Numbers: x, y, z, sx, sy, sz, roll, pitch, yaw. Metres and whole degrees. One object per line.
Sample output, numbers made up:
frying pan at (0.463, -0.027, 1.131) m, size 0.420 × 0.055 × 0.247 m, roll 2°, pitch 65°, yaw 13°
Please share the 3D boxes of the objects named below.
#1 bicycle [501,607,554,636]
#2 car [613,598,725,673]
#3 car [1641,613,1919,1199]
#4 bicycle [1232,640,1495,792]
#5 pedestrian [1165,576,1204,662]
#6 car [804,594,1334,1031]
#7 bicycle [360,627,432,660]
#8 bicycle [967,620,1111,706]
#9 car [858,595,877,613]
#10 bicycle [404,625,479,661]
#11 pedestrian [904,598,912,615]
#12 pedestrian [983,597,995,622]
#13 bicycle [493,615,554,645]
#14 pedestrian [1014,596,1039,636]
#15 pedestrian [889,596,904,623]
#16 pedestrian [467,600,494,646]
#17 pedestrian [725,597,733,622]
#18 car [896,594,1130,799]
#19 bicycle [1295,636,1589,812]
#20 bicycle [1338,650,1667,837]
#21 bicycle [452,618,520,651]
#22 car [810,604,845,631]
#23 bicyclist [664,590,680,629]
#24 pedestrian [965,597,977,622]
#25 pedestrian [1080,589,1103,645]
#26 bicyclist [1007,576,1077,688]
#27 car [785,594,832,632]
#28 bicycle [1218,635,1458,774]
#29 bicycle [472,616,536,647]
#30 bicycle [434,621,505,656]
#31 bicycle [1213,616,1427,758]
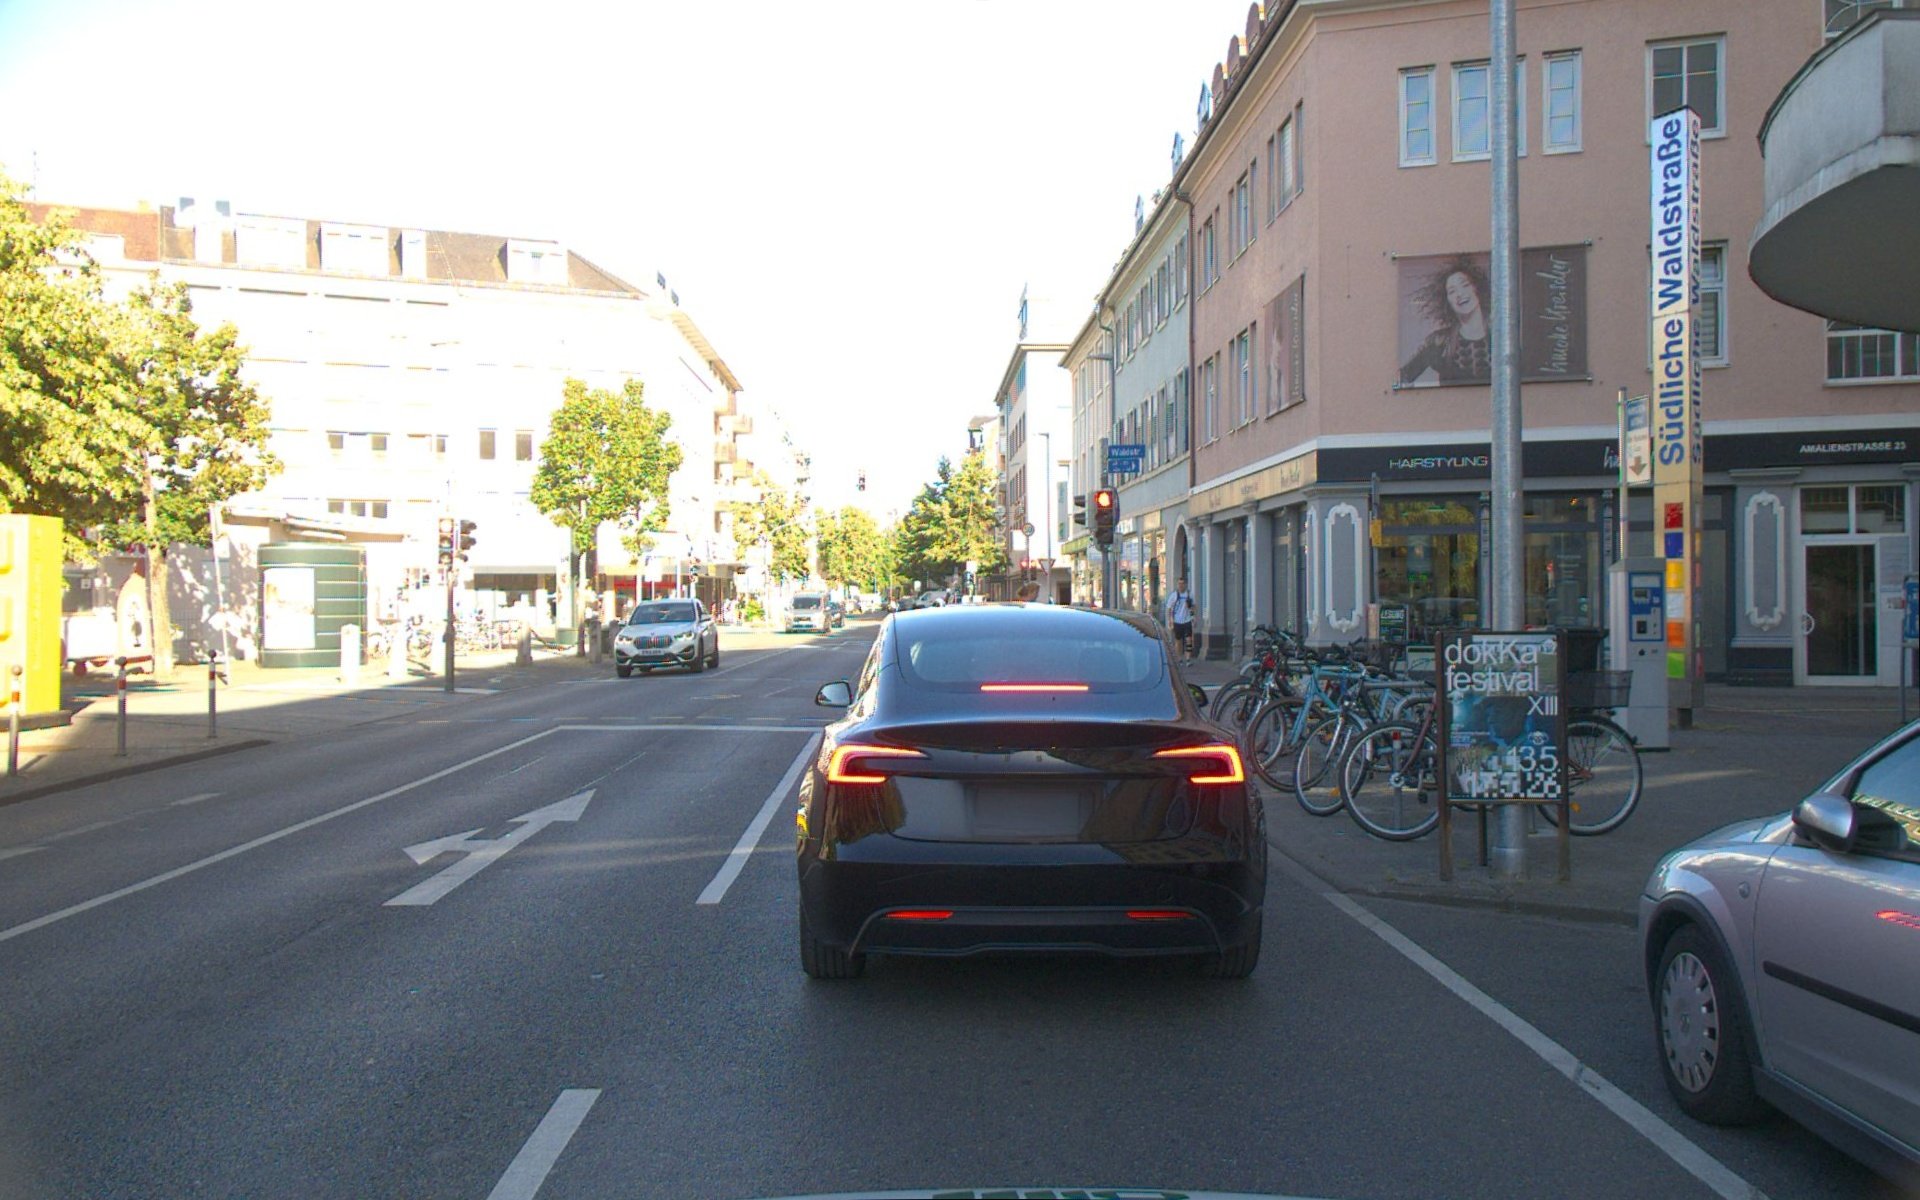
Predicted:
bicycle at (-20.293, 1.028, 77.659) m, size 2.334 × 1.318 × 0.509 m, roll 1°, pitch -1°, yaw -27°
car at (-6.291, 0.744, 36.104) m, size 1.752 × 1.485 × 3.756 m, roll -2°, pitch 0°, yaw -1°
car at (2.912, 0.745, 3.505) m, size 1.515 × 1.415 × 3.476 m, roll 0°, pitch 0°, yaw 0°
bicycle at (3.024, 0.866, 12.506) m, size 1.834 × 1.056 × 0.533 m, roll -2°, pitch -1°, yaw 3°
pedestrian at (4.762, 0.400, 35.114) m, size 0.735 × 1.796 × 0.837 m, roll 0°, pitch -1°, yaw 3°
car at (0.343, 0.724, 7.581) m, size 1.785 × 1.467 × 3.999 m, roll 0°, pitch 0°, yaw -1°
bicycle at (-14.452, 1.114, 42.403) m, size 1.612 × 0.806 × 0.606 m, roll 1°, pitch 0°, yaw -5°
bicycle at (1.085, 0.840, 22.536) m, size 1.892 × 1.137 × 0.709 m, roll 0°, pitch -1°, yaw 10°
car at (-10.415, 0.463, 186.934) m, size 1.953 × 2.049 × 3.999 m, roll 1°, pitch 0°, yaw -1°
bicycle at (-14.096, 1.165, 44.991) m, size 1.826 × 0.950 × 0.606 m, roll 0°, pitch 0°, yaw -2°
pedestrian at (-6.478, 0.783, 207.168) m, size 0.912 × 2.049 × 0.938 m, roll 1°, pitch -1°, yaw -1°
pedestrian at (1.697, 0.528, 95.828) m, size 0.516 × 1.447 × 0.474 m, roll 1°, pitch -1°, yaw -31°
bicycle at (-14.370, 0.990, 54.487) m, size 1.826 × 0.950 × 0.606 m, roll 0°, pitch 0°, yaw -2°
pedestrian at (2.783, 0.656, 69.286) m, size 0.742 × 1.660 × 0.951 m, roll 1°, pitch -1°, yaw -18°
pedestrian at (-4.100, 0.603, 106.690) m, size 0.708 × 1.725 × 0.843 m, roll 0°, pitch 0°, yaw -28°
pedestrian at (-21.571, 1.038, 74.415) m, size 1.041 × 2.049 × 1.049 m, roll 1°, pitch -1°, yaw -20°
pedestrian at (-13.726, 0.578, 98.172) m, size 0.451 × 1.486 × 0.517 m, roll 0°, pitch 0°, yaw -6°
car at (0.312, 0.689, 13.768) m, size 1.683 × 1.450 × 3.755 m, roll 0°, pitch 0°, yaw -2°
bicycle at (3.240, 0.830, 11.202) m, size 1.834 × 1.106 × 0.414 m, roll -2°, pitch -1°, yaw 3°
bicycle at (3.262, 0.867, 10.029) m, size 1.833 × 1.056 × 0.353 m, roll -2°, pitch -1°, yaw 6°
bicycle at (-14.215, 1.021, 49.639) m, size 1.826 × 0.950 × 0.606 m, roll 1°, pitch 0°, yaw -2°
car at (-7.389, 0.980, 92.664) m, size 1.680 × 1.471 × 3.844 m, roll 1°, pitch 0°, yaw -1°
bicyclist at (-11.479, 0.365, 65.877) m, size 0.516 × 1.530 × 0.473 m, roll 1°, pitch -1°, yaw -24°
pedestrian at (0.624, 0.542, 95.781) m, size 0.467 × 1.442 × 0.516 m, roll 1°, pitch -1°, yaw -32°
pedestrian at (4.197, 0.543, 52.882) m, size 0.692 × 1.773 × 0.540 m, roll 0°, pitch 0°, yaw -1°
bicyclist at (1.121, 0.430, 22.532) m, size 0.871 × 1.508 × 0.702 m, roll 0°, pitch -1°, yaw 10°
car at (-6.772, 0.557, 74.365) m, size 1.751 × 1.675 × 4.401 m, roll 0°, pitch 0°, yaw -1°
bicycle at (3.083, 0.850, 13.600) m, size 1.833 × 1.056 × 0.548 m, roll -2°, pitch -1°, yaw 5°
bicycle at (-14.334, 0.980, 52.039) m, size 1.826 × 0.950 × 0.606 m, roll 0°, pitch 0°, yaw -2°
bicycle at (-13.979, 1.091, 47.169) m, size 1.826 × 0.950 × 0.606 m, roll 1°, pitch 0°, yaw -2°
bicycle at (3.199, 0.769, 14.795) m, size 1.789 × 1.189 × 0.506 m, roll -2°, pitch -1°, yaw 5°
